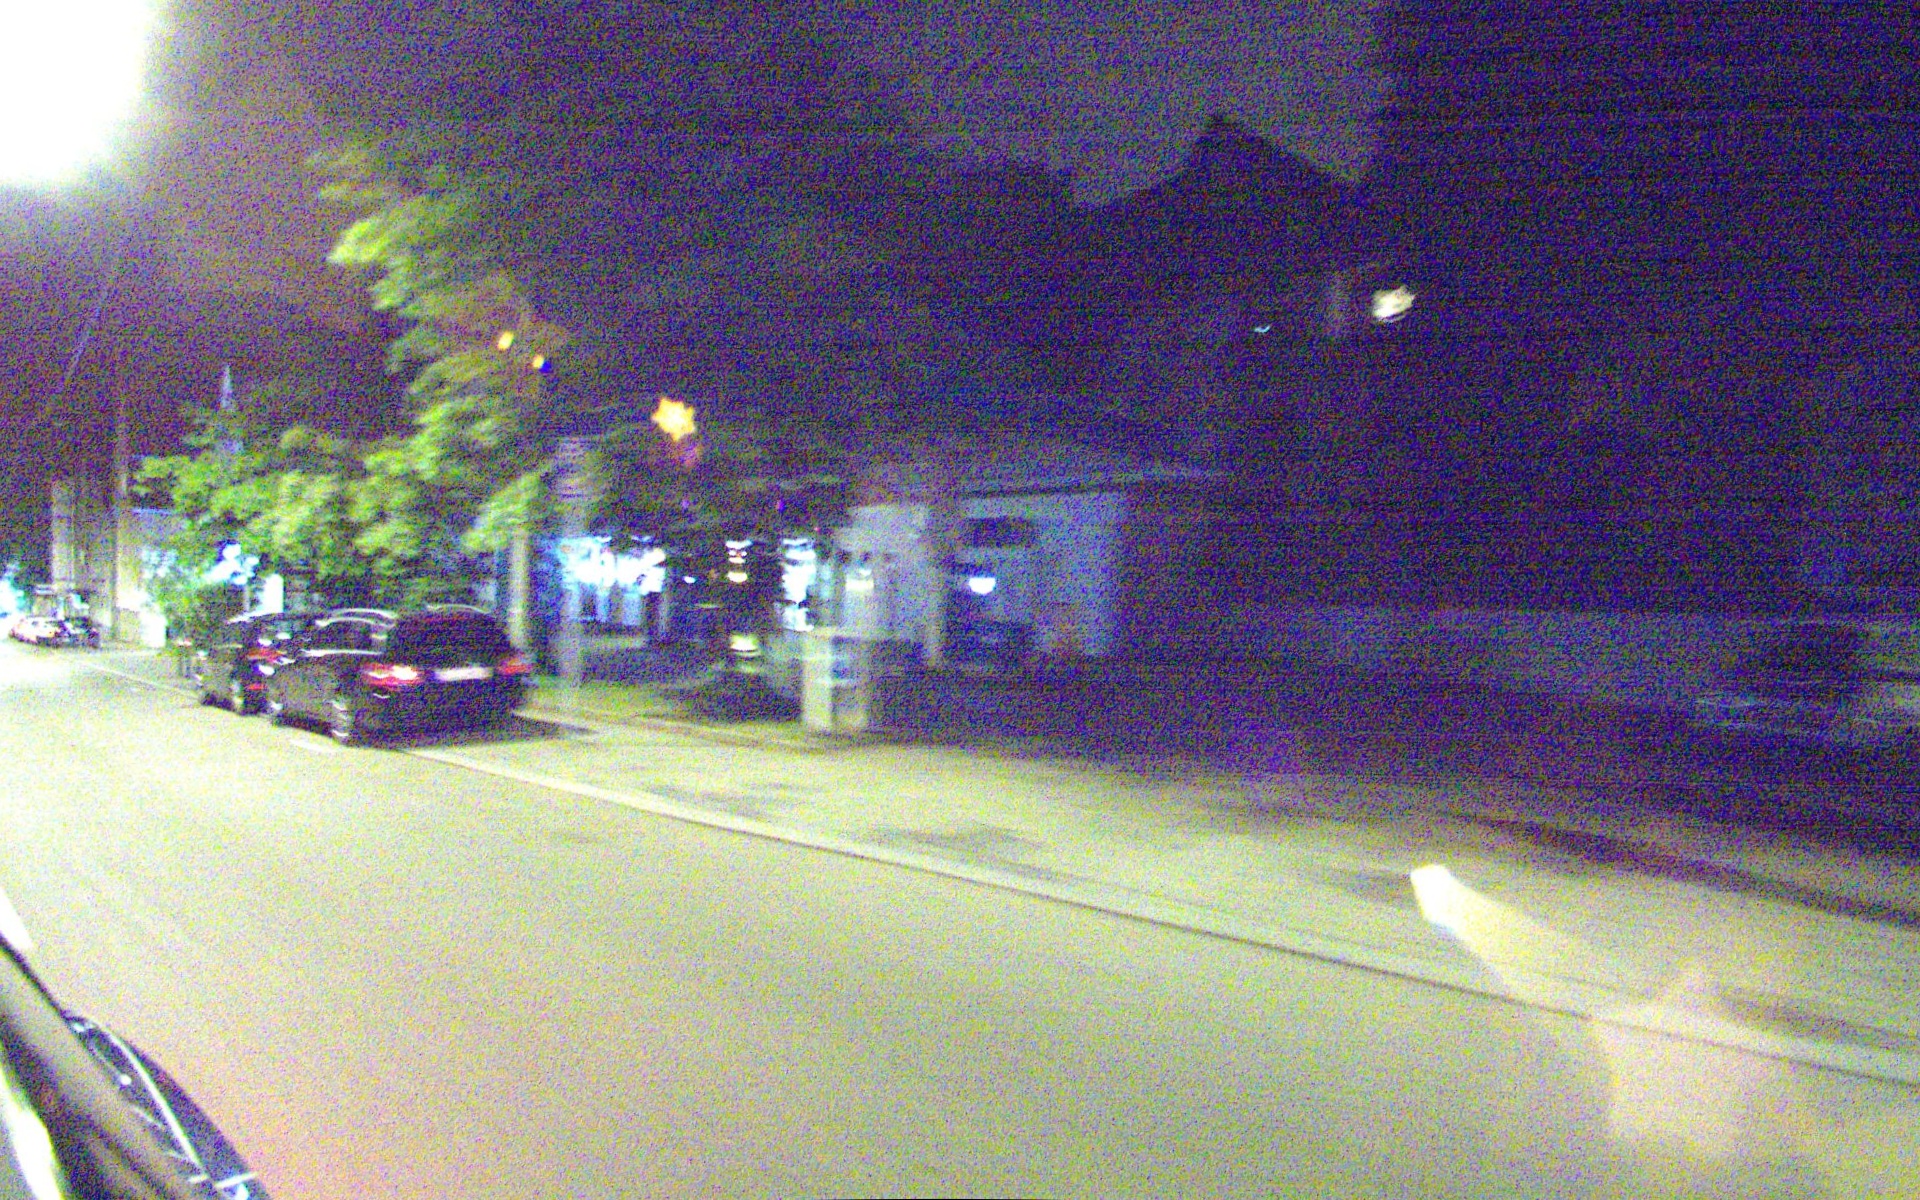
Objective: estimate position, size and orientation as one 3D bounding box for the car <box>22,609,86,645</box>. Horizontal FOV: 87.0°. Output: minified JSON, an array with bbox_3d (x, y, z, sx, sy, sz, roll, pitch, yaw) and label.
[{"bbox_3d":[-44.313,1.303,49.462,3.998,1.657,1.849,-1,0,41],"label":"car"}]

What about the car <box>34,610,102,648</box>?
[{"bbox_3d":[-40.998,1.307,46.470,3.998,1.657,1.849,-1,0,41],"label":"car"}]

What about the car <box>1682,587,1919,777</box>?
[{"bbox_3d":[9.123,0.691,9.625,3.284,1.548,2.005,0,-1,-14],"label":"car"}]

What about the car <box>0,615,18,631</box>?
[{"bbox_3d":[-96.668,2.303,102.422,1.847,1.572,4.355,-1,0,-45],"label":"car"}]

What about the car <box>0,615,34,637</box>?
[{"bbox_3d":[-72.144,1.962,77.350,1.847,1.572,4.355,-1,0,-45],"label":"car"}]

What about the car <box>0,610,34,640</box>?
[{"bbox_3d":[-55.476,1.439,58.917,3.998,1.657,1.849,-1,0,41],"label":"car"}]

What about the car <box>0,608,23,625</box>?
[{"bbox_3d":[-89.568,1.561,95.231,1.847,1.572,4.355,-1,0,-45],"label":"car"}]

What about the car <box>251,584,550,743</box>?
[{"bbox_3d":[-6.977,0.664,12.379,4.588,1.544,1.839,-1,1,43],"label":"car"}]

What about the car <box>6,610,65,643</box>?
[{"bbox_3d":[-48.912,1.384,53.519,3.998,1.657,1.849,-1,0,41],"label":"car"}]

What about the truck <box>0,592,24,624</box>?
[{"bbox_3d":[-80.066,0.708,84.838,2.056,2.596,6.877,-1,0,-45],"label":"truck"}]

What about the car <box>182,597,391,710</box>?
[{"bbox_3d":[-10.591,0.751,15.807,3.897,1.477,1.840,-1,1,43],"label":"car"}]

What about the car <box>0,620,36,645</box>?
[{"bbox_3d":[-63.642,2.151,68.188,1.847,1.572,4.002,-1,0,-45],"label":"car"}]
